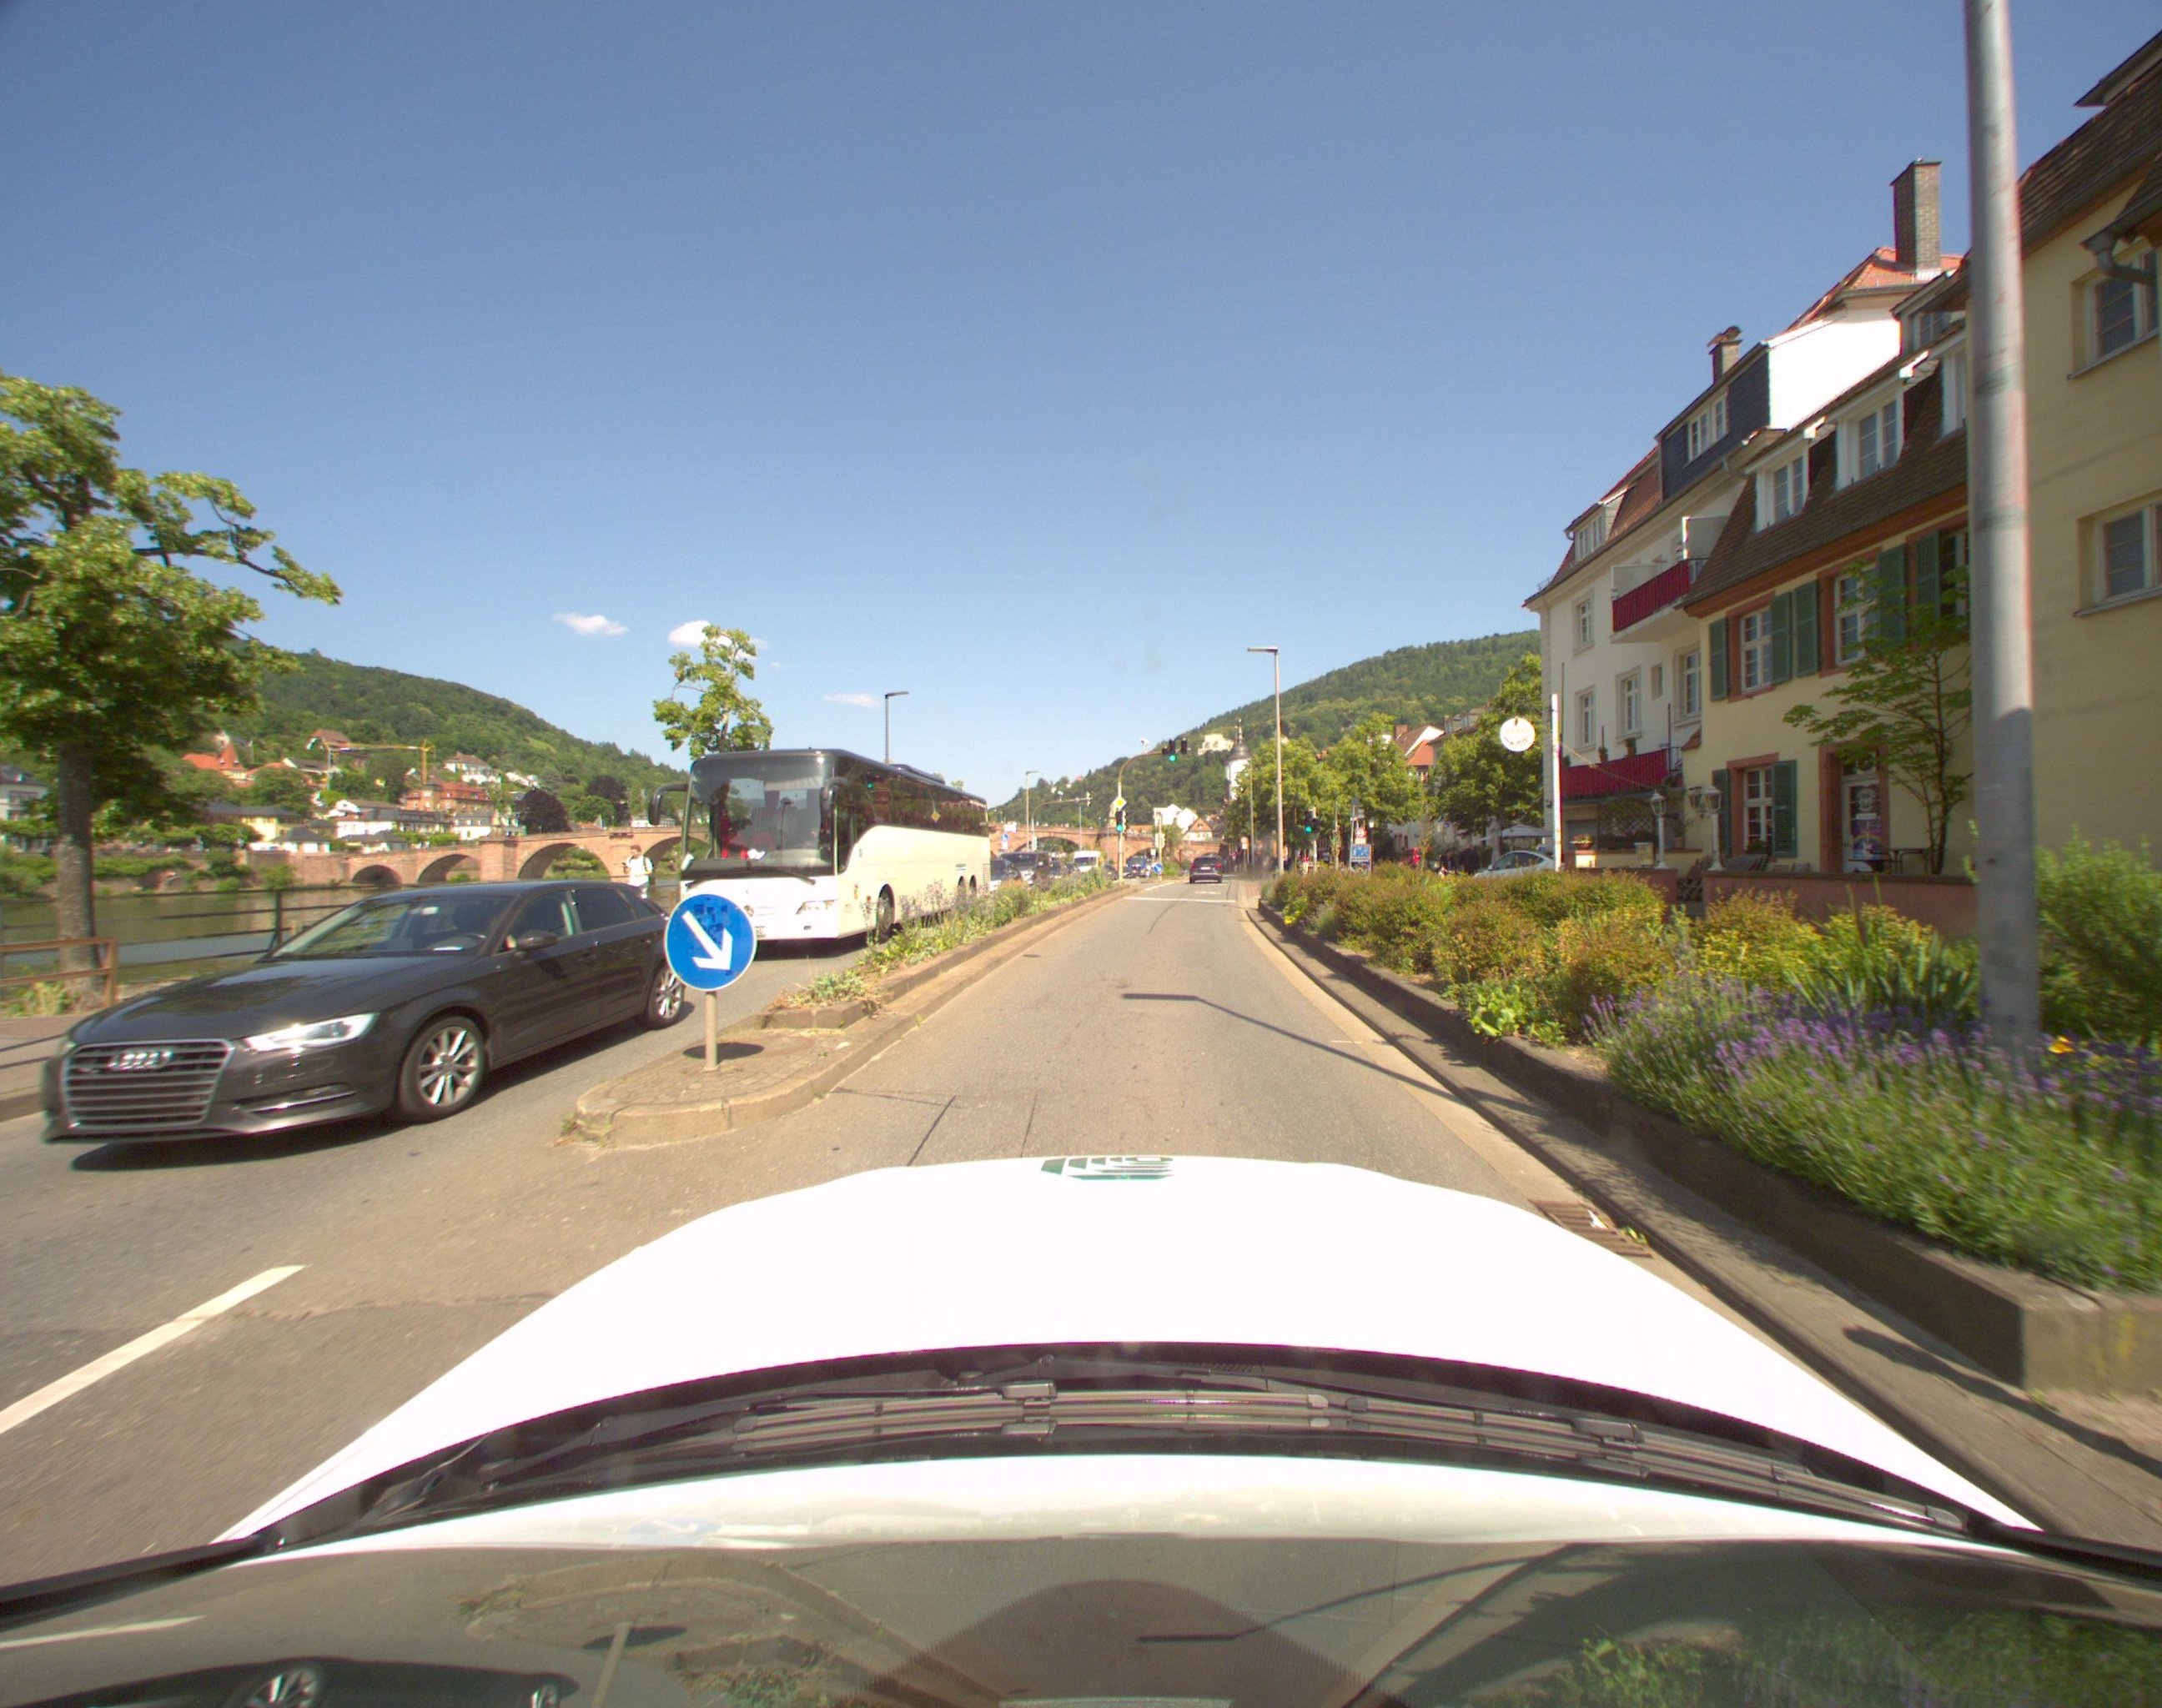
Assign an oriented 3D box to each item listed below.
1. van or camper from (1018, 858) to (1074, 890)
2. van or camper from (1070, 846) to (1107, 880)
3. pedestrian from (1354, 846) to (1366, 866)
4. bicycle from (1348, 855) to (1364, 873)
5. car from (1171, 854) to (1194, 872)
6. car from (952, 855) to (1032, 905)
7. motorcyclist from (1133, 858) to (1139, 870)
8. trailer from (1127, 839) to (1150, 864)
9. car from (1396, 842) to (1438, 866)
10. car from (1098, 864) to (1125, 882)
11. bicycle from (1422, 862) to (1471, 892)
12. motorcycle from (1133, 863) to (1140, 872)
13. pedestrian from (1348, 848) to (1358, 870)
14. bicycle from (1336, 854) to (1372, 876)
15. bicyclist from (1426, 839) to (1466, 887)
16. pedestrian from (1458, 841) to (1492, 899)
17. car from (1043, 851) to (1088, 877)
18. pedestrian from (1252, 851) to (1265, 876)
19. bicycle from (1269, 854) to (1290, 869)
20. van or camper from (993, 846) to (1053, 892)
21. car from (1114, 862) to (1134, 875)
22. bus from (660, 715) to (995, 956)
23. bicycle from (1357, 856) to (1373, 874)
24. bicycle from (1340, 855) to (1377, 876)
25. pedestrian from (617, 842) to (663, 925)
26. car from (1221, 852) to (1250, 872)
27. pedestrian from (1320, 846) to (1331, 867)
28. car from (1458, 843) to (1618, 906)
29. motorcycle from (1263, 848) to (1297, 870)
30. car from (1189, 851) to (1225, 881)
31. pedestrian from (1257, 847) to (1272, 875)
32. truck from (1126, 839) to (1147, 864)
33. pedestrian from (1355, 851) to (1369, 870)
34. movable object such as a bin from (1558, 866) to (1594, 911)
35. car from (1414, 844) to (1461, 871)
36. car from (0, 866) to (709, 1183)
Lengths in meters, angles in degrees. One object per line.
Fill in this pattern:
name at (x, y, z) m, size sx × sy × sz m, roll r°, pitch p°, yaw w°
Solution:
van or camper at (-1.742, 1.016, 42.751) m, size 1.982 × 1.477 × 5.076 m, roll -2°, pitch -1°, yaw 8°
van or camper at (0.635, 0.708, 63.260) m, size 1.981 × 2.450 × 5.508 m, roll -3°, pitch -1°, yaw 9°
pedestrian at (19.220, 0.119, 56.035) m, size 0.623 × 1.382 × 0.542 m, roll 1°, pitch 0°, yaw 0°
bicycle at (16.691, 0.588, 49.419) m, size 0.588 × 1.067 × 2.078 m, roll -2°, pitch -1°, yaw 27°
car at (9.597, 0.846, 76.771) m, size 1.982 × 1.553 × 4.844 m, roll -1°, pitch 0°, yaw 8°
car at (-3.228, 0.898, 30.725) m, size 1.984 × 1.598 × 5.163 m, roll -4°, pitch 0°, yaw 4°
motorcyclist at (7.060, 1.293, 103.813) m, size 0.732 × 1.470 × 1.013 m, roll -1°, pitch -1°, yaw 5°
trailer at (8.573, -0.322, 119.805) m, size 2.642 × 3.403 × 8.848 m, roll -1°, pitch 0°, yaw 9°
car at (27.994, -0.040, 67.969) m, size 1.983 × 1.902 × 4.642 m, roll -1°, pitch 0°, yaw 6°
car at (2.740, 1.673, 72.076) m, size 1.808 × 1.456 × 4.940 m, roll -3°, pitch -1°, yaw 8°
bicycle at (12.332, 0.767, 27.555) m, size 0.748 × 0.964 × 1.779 m, roll 0°, pitch -1°, yaw -5°
motorcycle at (7.065, 1.758, 103.803) m, size 0.753 × 1.131 × 2.459 m, roll -1°, pitch 0°, yaw 5°
pedestrian at (18.840, 0.373, 56.454) m, size 0.457 × 1.517 × 0.690 m, roll 0°, pitch 0°, yaw 1°
bicycle at (15.975, 0.631, 47.626) m, size 1.982 × 1.198 × 0.524 m, roll 1°, pitch 1°, yaw 20°
bicyclist at (12.324, 0.298, 27.509) m, size 0.765 × 1.583 × 1.087 m, roll -1°, pitch -1°, yaw -5°
pedestrian at (12.982, 0.523, 26.826) m, size 0.759 × 1.858 × 0.610 m, roll -3°, pitch 0°, yaw 0°
car at (-0.881, 0.565, 49.511) m, size 1.941 × 1.409 × 4.580 m, roll -3°, pitch -1°, yaw 8°
pedestrian at (11.896, 0.631, 54.566) m, size 0.691 × 1.677 × 0.764 m, roll -3°, pitch 0°, yaw 1°
bicycle at (15.157, 0.579, 62.196) m, size 1.477 × 1.047 × 0.251 m, roll -2°, pitch -1°, yaw 3°
van or camper at (-2.543, 0.644, 37.108) m, size 1.985 × 1.873 × 5.185 m, roll -2°, pitch 0°, yaw 4°
car at (4.952, 1.692, 93.149) m, size 1.941 × 1.413 × 4.227 m, roll -3°, pitch -2°, yaw 8°
bus at (-4.519, -0.186, 18.703) m, size 2.619 × 3.564 × 12.998 m, roll -1°, pitch -1°, yaw 5°
bicycle at (17.106, 0.679, 49.097) m, size 0.588 × 1.067 × 2.077 m, roll -2°, pitch -2°, yaw 27°
bicycle at (16.369, 0.652, 48.027) m, size 1.995 × 1.198 × 0.524 m, roll 1°, pitch 0°, yaw 20°
pedestrian at (-9.646, 0.633, 17.819) m, size 0.618 × 1.780 × 0.662 m, roll -1°, pitch 0°, yaw 1°
car at (11.764, 0.594, 61.680) m, size 1.913 × 1.461 × 4.850 m, roll -1°, pitch 0°, yaw 14°
pedestrian at (19.619, 0.178, 65.406) m, size 0.703 × 1.653 × 0.708 m, roll -1°, pitch 0°, yaw 9°
car at (12.680, 0.527, 23.009) m, size 1.871 × 1.577 × 4.726 m, roll 0°, pitch 0°, yaw 0°
motorcycle at (14.111, 0.382, 57.915) m, size 0.768 × 1.465 × 2.271 m, roll 0°, pitch -2°, yaw -41°
car at (7.066, 0.639, 46.072) m, size 1.916 × 1.553 × 4.843 m, roll 0°, pitch 0°, yaw 8°
pedestrian at (12.153, 0.467, 53.956) m, size 0.691 × 1.771 × 0.764 m, roll -3°, pitch 0°, yaw 1°
truck at (7.919, -0.359, 115.538) m, size 2.642 × 3.403 × 4.460 m, roll -1°, pitch 0°, yaw 9°
pedestrian at (19.022, 0.418, 55.160) m, size 0.691 × 1.252 × 0.764 m, roll -1°, pitch 0°, yaw 1°
movable object such as a bin at (11.854, 0.823, 19.498) m, size 0.637 × 1.067 × 0.365 m, roll -1°, pitch -1°, yaw 9°
car at (24.369, 0.221, 55.839) m, size 1.759 × 1.728 × 4.578 m, roll -1°, pitch 0°, yaw 8°
car at (-4.676, 0.869, 6.098) m, size 1.811 × 1.429 × 4.192 m, roll -2°, pitch 0°, yaw 0°
